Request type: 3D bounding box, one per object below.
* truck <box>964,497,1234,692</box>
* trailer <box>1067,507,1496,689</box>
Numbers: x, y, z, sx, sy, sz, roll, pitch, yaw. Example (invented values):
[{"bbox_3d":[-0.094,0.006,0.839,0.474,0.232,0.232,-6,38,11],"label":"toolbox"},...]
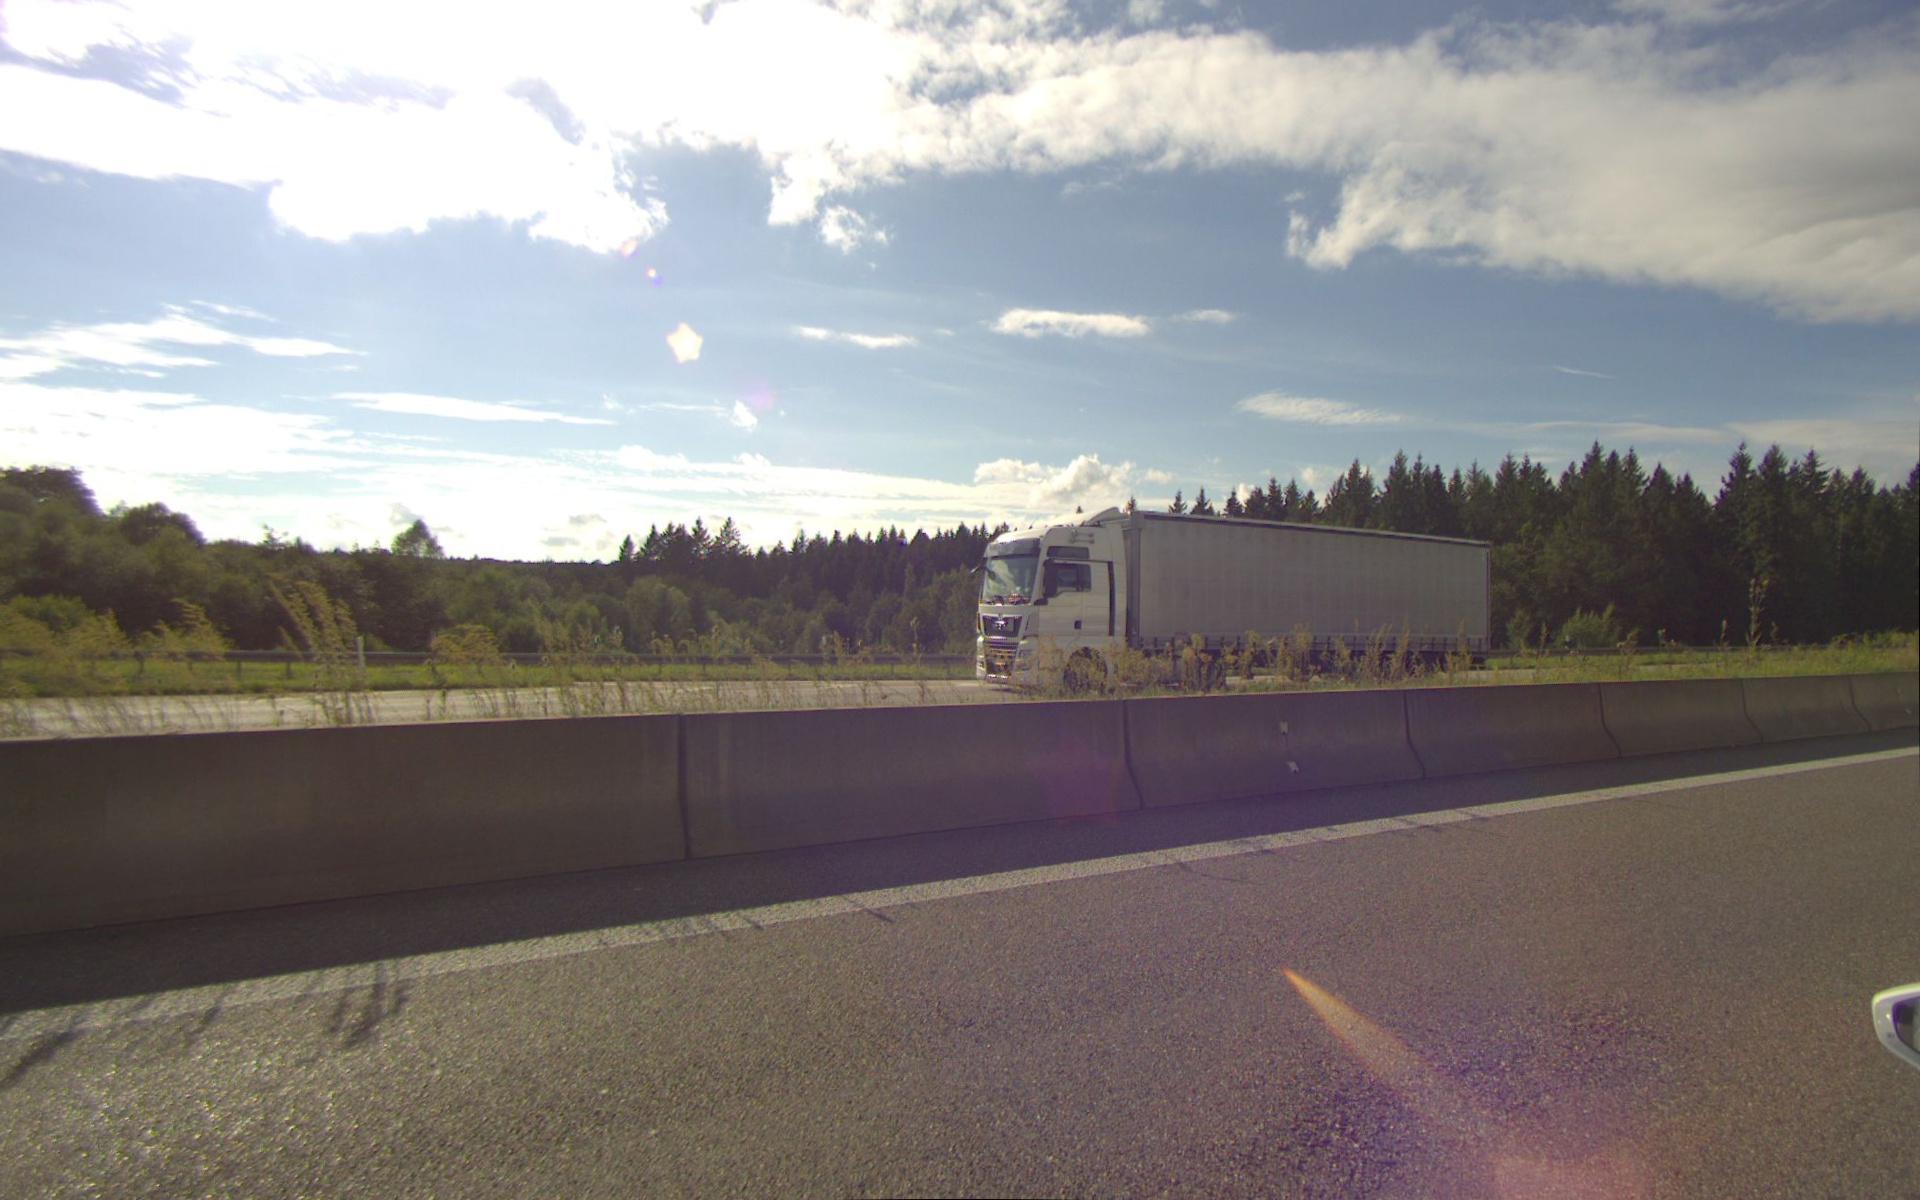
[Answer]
[{"bbox_3d":[3.287,-0.045,23.530,5.764,4.028,2.806,1,-1,-30],"label":"truck"},{"bbox_3d":[9.126,0.103,27.009,13.392,4.045,2.818,1,-1,-31],"label":"trailer"}]
